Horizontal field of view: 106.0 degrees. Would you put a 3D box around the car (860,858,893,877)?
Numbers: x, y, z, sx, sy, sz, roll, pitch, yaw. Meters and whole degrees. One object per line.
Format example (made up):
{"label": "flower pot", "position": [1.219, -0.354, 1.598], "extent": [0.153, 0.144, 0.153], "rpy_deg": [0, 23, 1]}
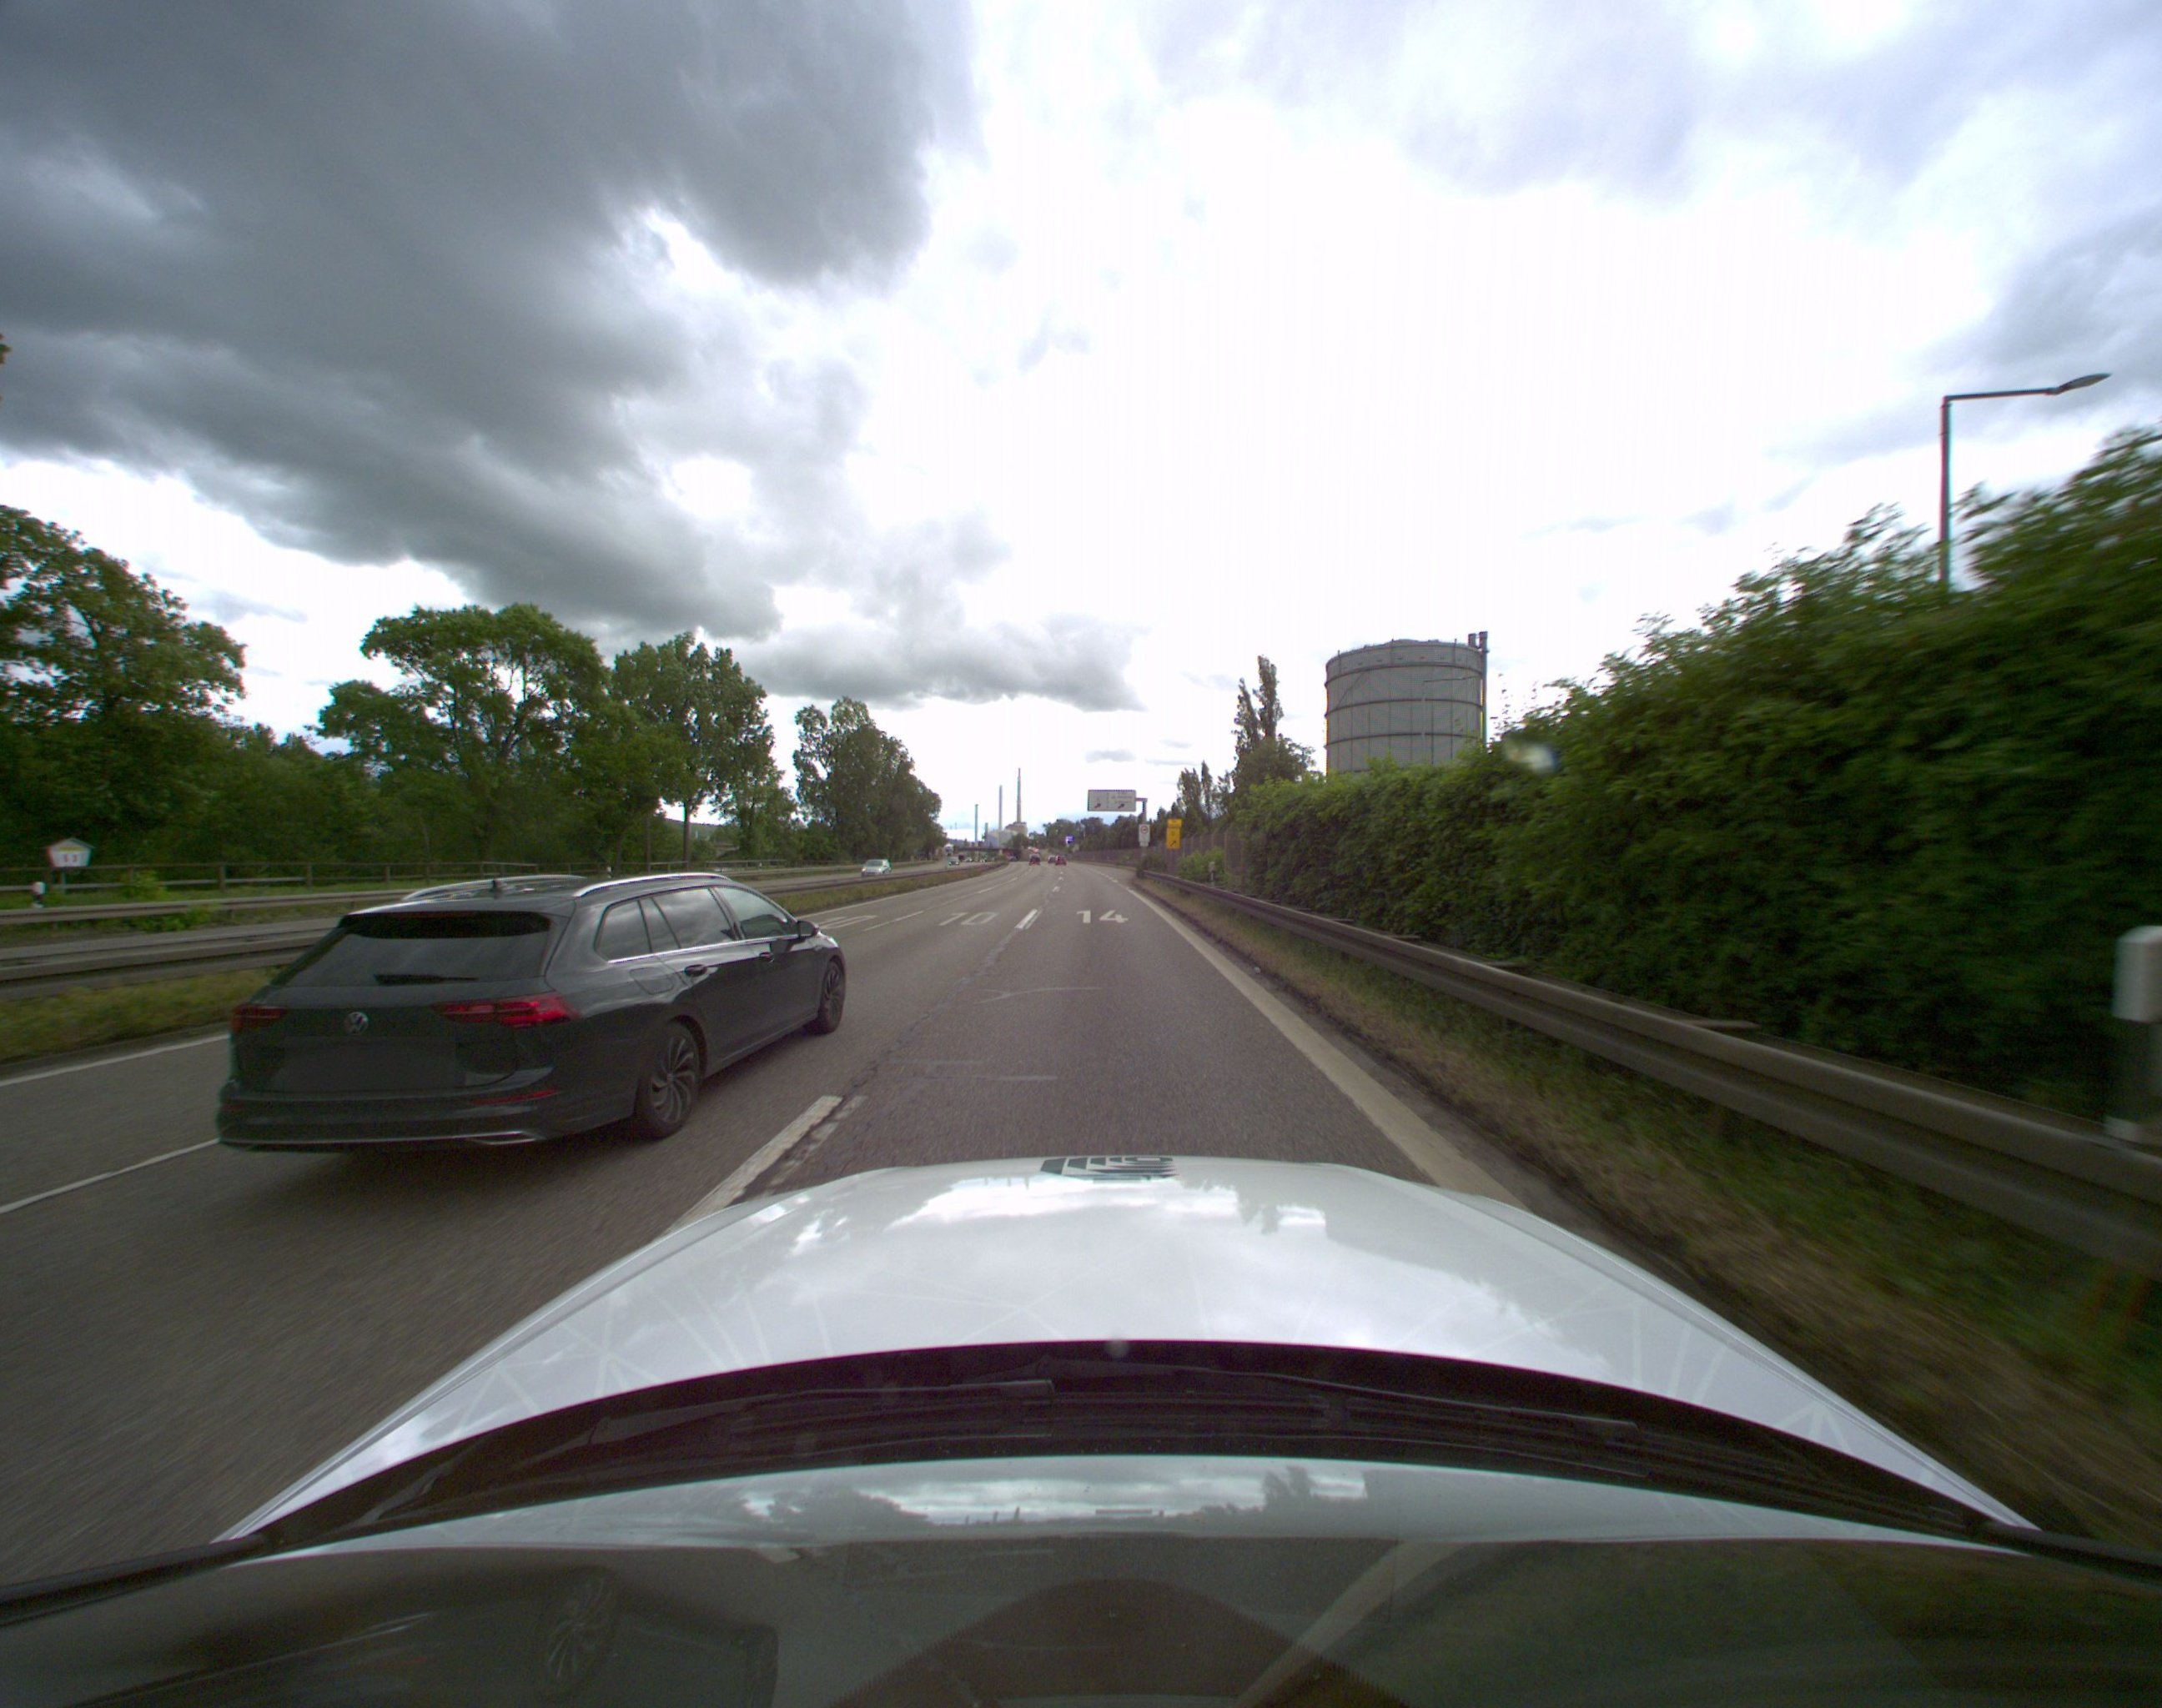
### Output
{"label": "car", "position": [-15.519, 1.009, 61.844], "extent": [1.609, 1.385, 3.731], "rpy_deg": [0, 0, -1]}

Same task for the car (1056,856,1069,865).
{"label": "car", "position": [-3.019, 1.012, 132.563], "extent": [1.970, 1.423, 4.896], "rpy_deg": [-1, 0, -3]}

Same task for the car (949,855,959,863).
{"label": "car", "position": [-24.688, 0.972, 158.187], "extent": [1.695, 1.413, 4.629], "rpy_deg": [-1, 0, -6]}

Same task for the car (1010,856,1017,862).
{"label": "car", "position": [-19.220, 1.317, 231.213], "extent": [1.698, 1.742, 4.378], "rpy_deg": [-1, 0, -10]}

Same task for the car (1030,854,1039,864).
{"label": "car", "position": [-8.234, 0.809, 144.251], "extent": [1.694, 1.742, 3.995], "rpy_deg": [-1, 0, -3]}

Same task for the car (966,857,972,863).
{"label": "car", "position": [-31.823, 1.731, 231.610], "extent": [1.696, 1.413, 4.626], "rpy_deg": [-1, 0, -8]}

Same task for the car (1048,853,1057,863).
{"label": "car", "position": [-5.630, 0.782, 161.069], "extent": [1.694, 1.742, 4.386], "rpy_deg": [-1, 0, -4]}

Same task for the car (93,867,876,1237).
{"label": "car", "position": [-3.125, 0.861, 5.855], "extent": [1.837, 1.423, 4.904], "rpy_deg": [1, 0, 2]}
